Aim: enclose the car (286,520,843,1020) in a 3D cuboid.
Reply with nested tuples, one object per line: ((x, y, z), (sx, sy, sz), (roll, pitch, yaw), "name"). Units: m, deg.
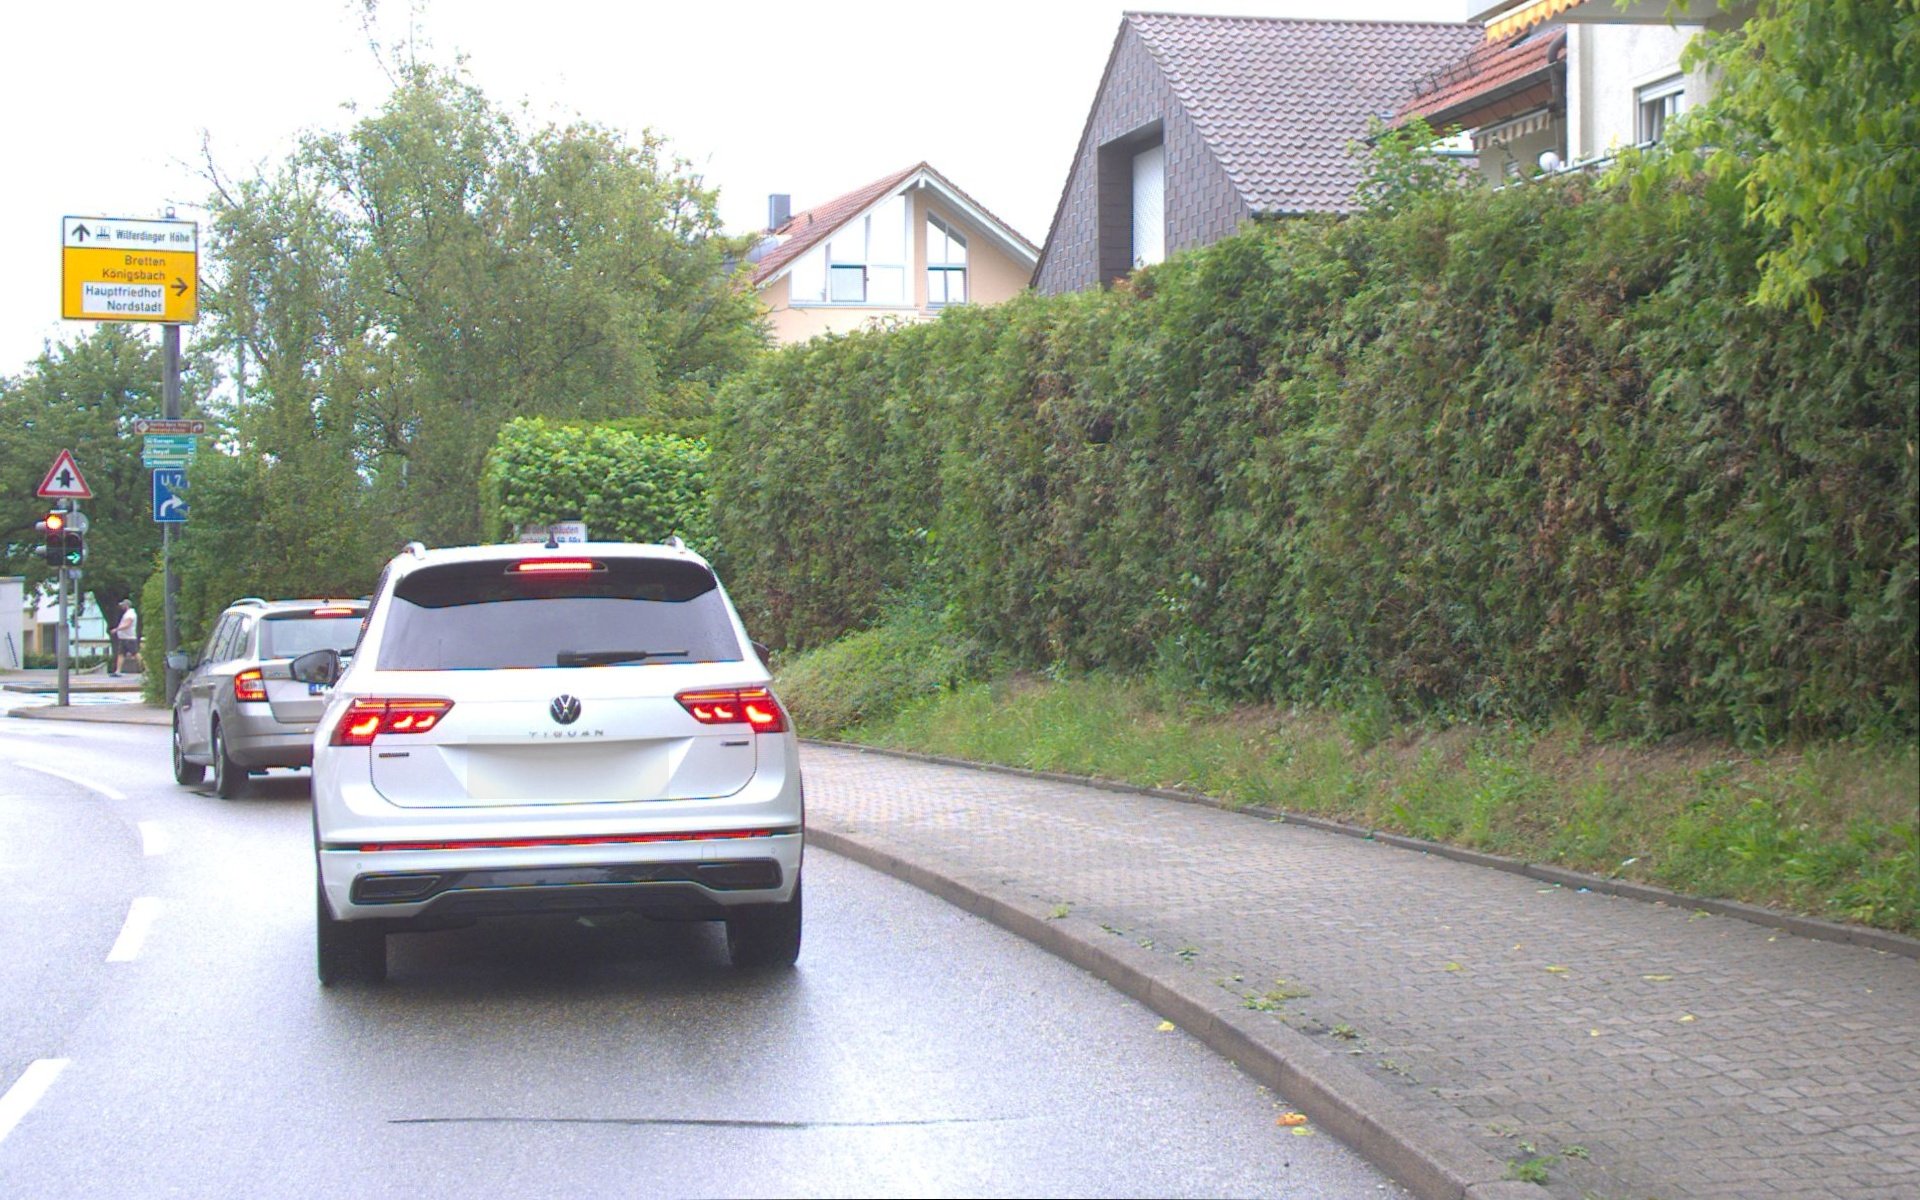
((-1.672, 0.570, 14.148), (1.920, 1.716, 4.266), (-1, 0, -8), "car")

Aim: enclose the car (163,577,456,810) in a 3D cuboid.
((-5.055, 0.661, 26.333), (1.764, 1.504, 4.002), (1, 2, -17), "car")

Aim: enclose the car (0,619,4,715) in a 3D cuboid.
((-14.176, 0.830, 45.827), (1.851, 1.424, 4.000), (-2, 1, -29), "car")

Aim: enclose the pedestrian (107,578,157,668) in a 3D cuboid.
((-19.062, 0.514, 79.114), (0.799, 2.006, 0.849), (-3, 3, -35), "pedestrian")
